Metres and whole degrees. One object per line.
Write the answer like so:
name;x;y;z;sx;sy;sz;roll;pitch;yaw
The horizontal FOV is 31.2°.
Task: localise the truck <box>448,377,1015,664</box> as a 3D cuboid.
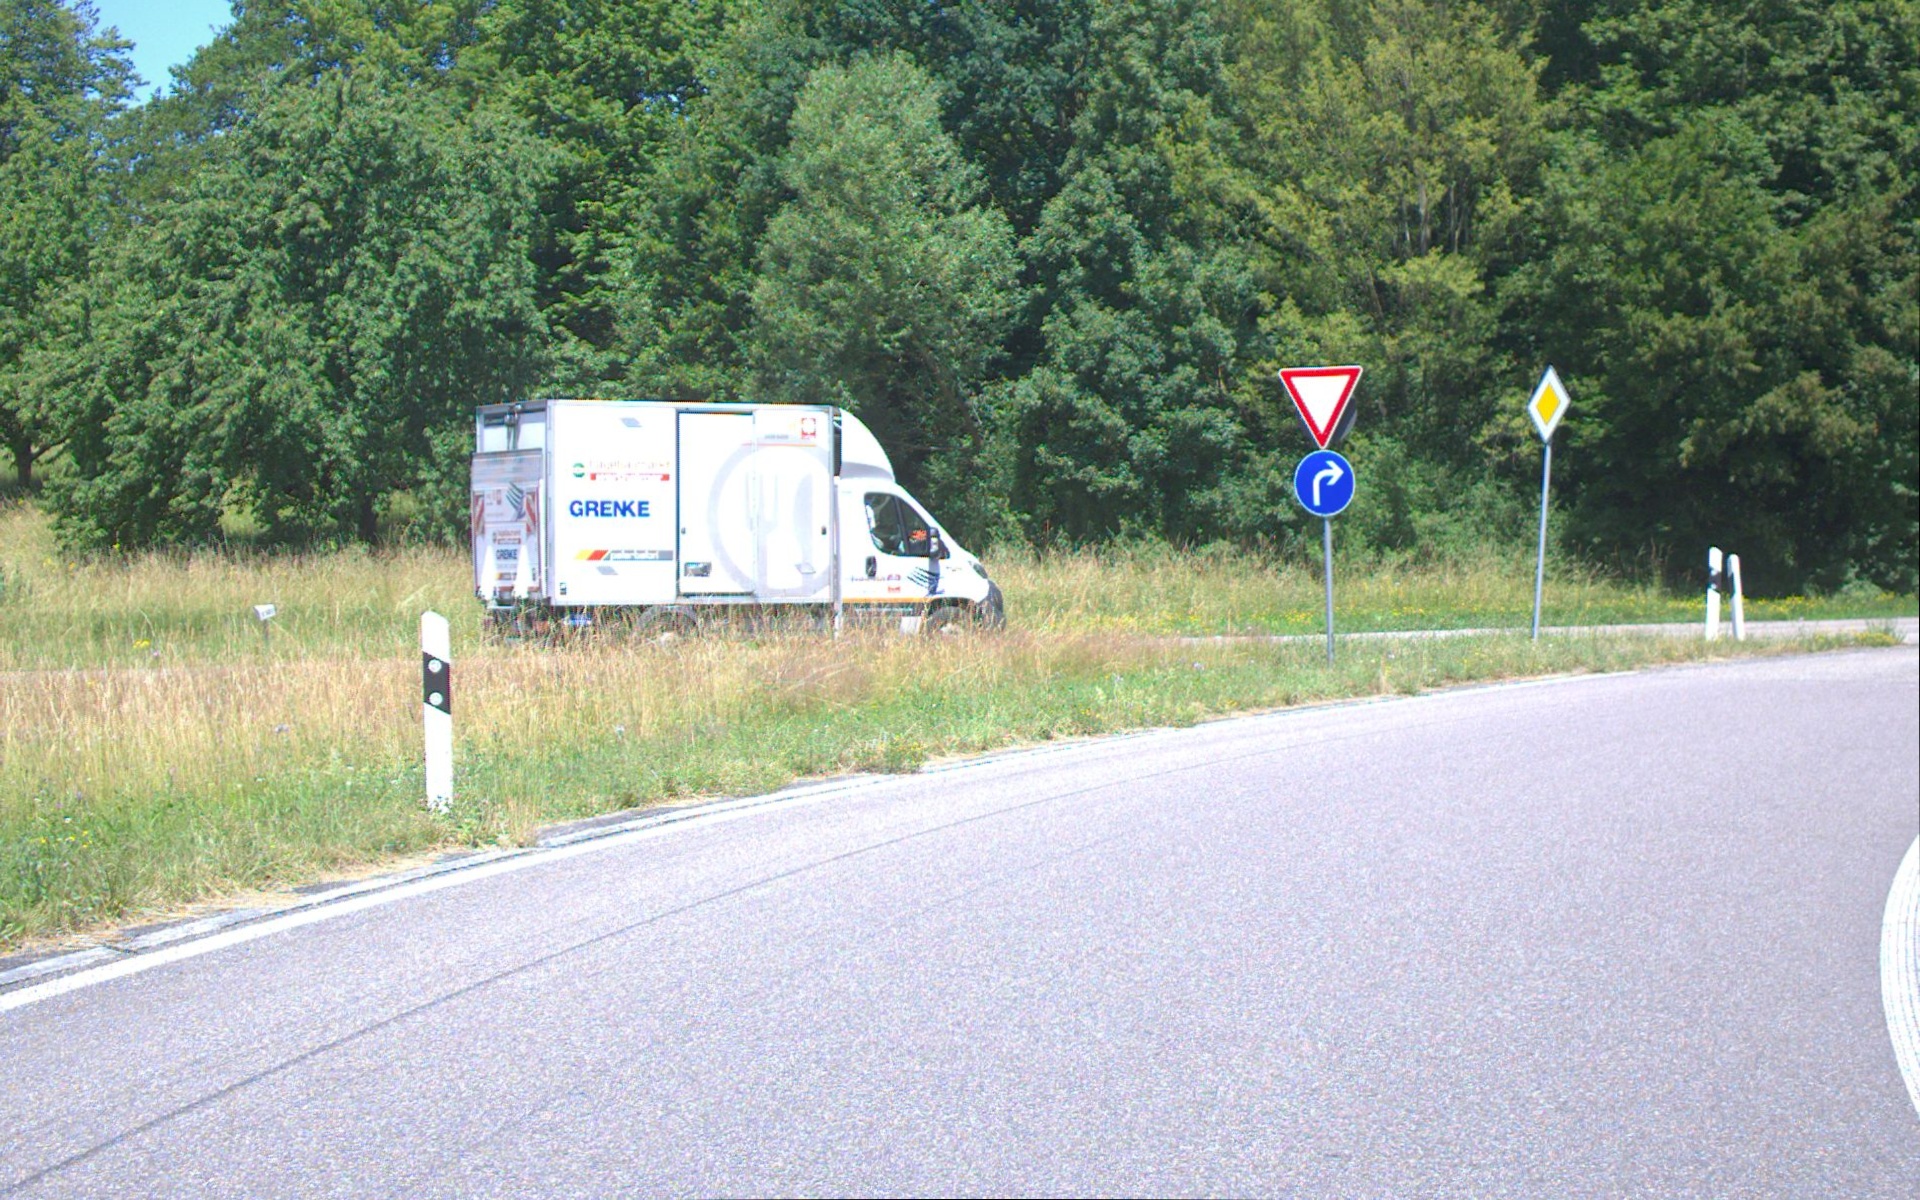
truck;-2.492;-0.879;38.134;5.875;2.974;2.248;-1;1;-31
